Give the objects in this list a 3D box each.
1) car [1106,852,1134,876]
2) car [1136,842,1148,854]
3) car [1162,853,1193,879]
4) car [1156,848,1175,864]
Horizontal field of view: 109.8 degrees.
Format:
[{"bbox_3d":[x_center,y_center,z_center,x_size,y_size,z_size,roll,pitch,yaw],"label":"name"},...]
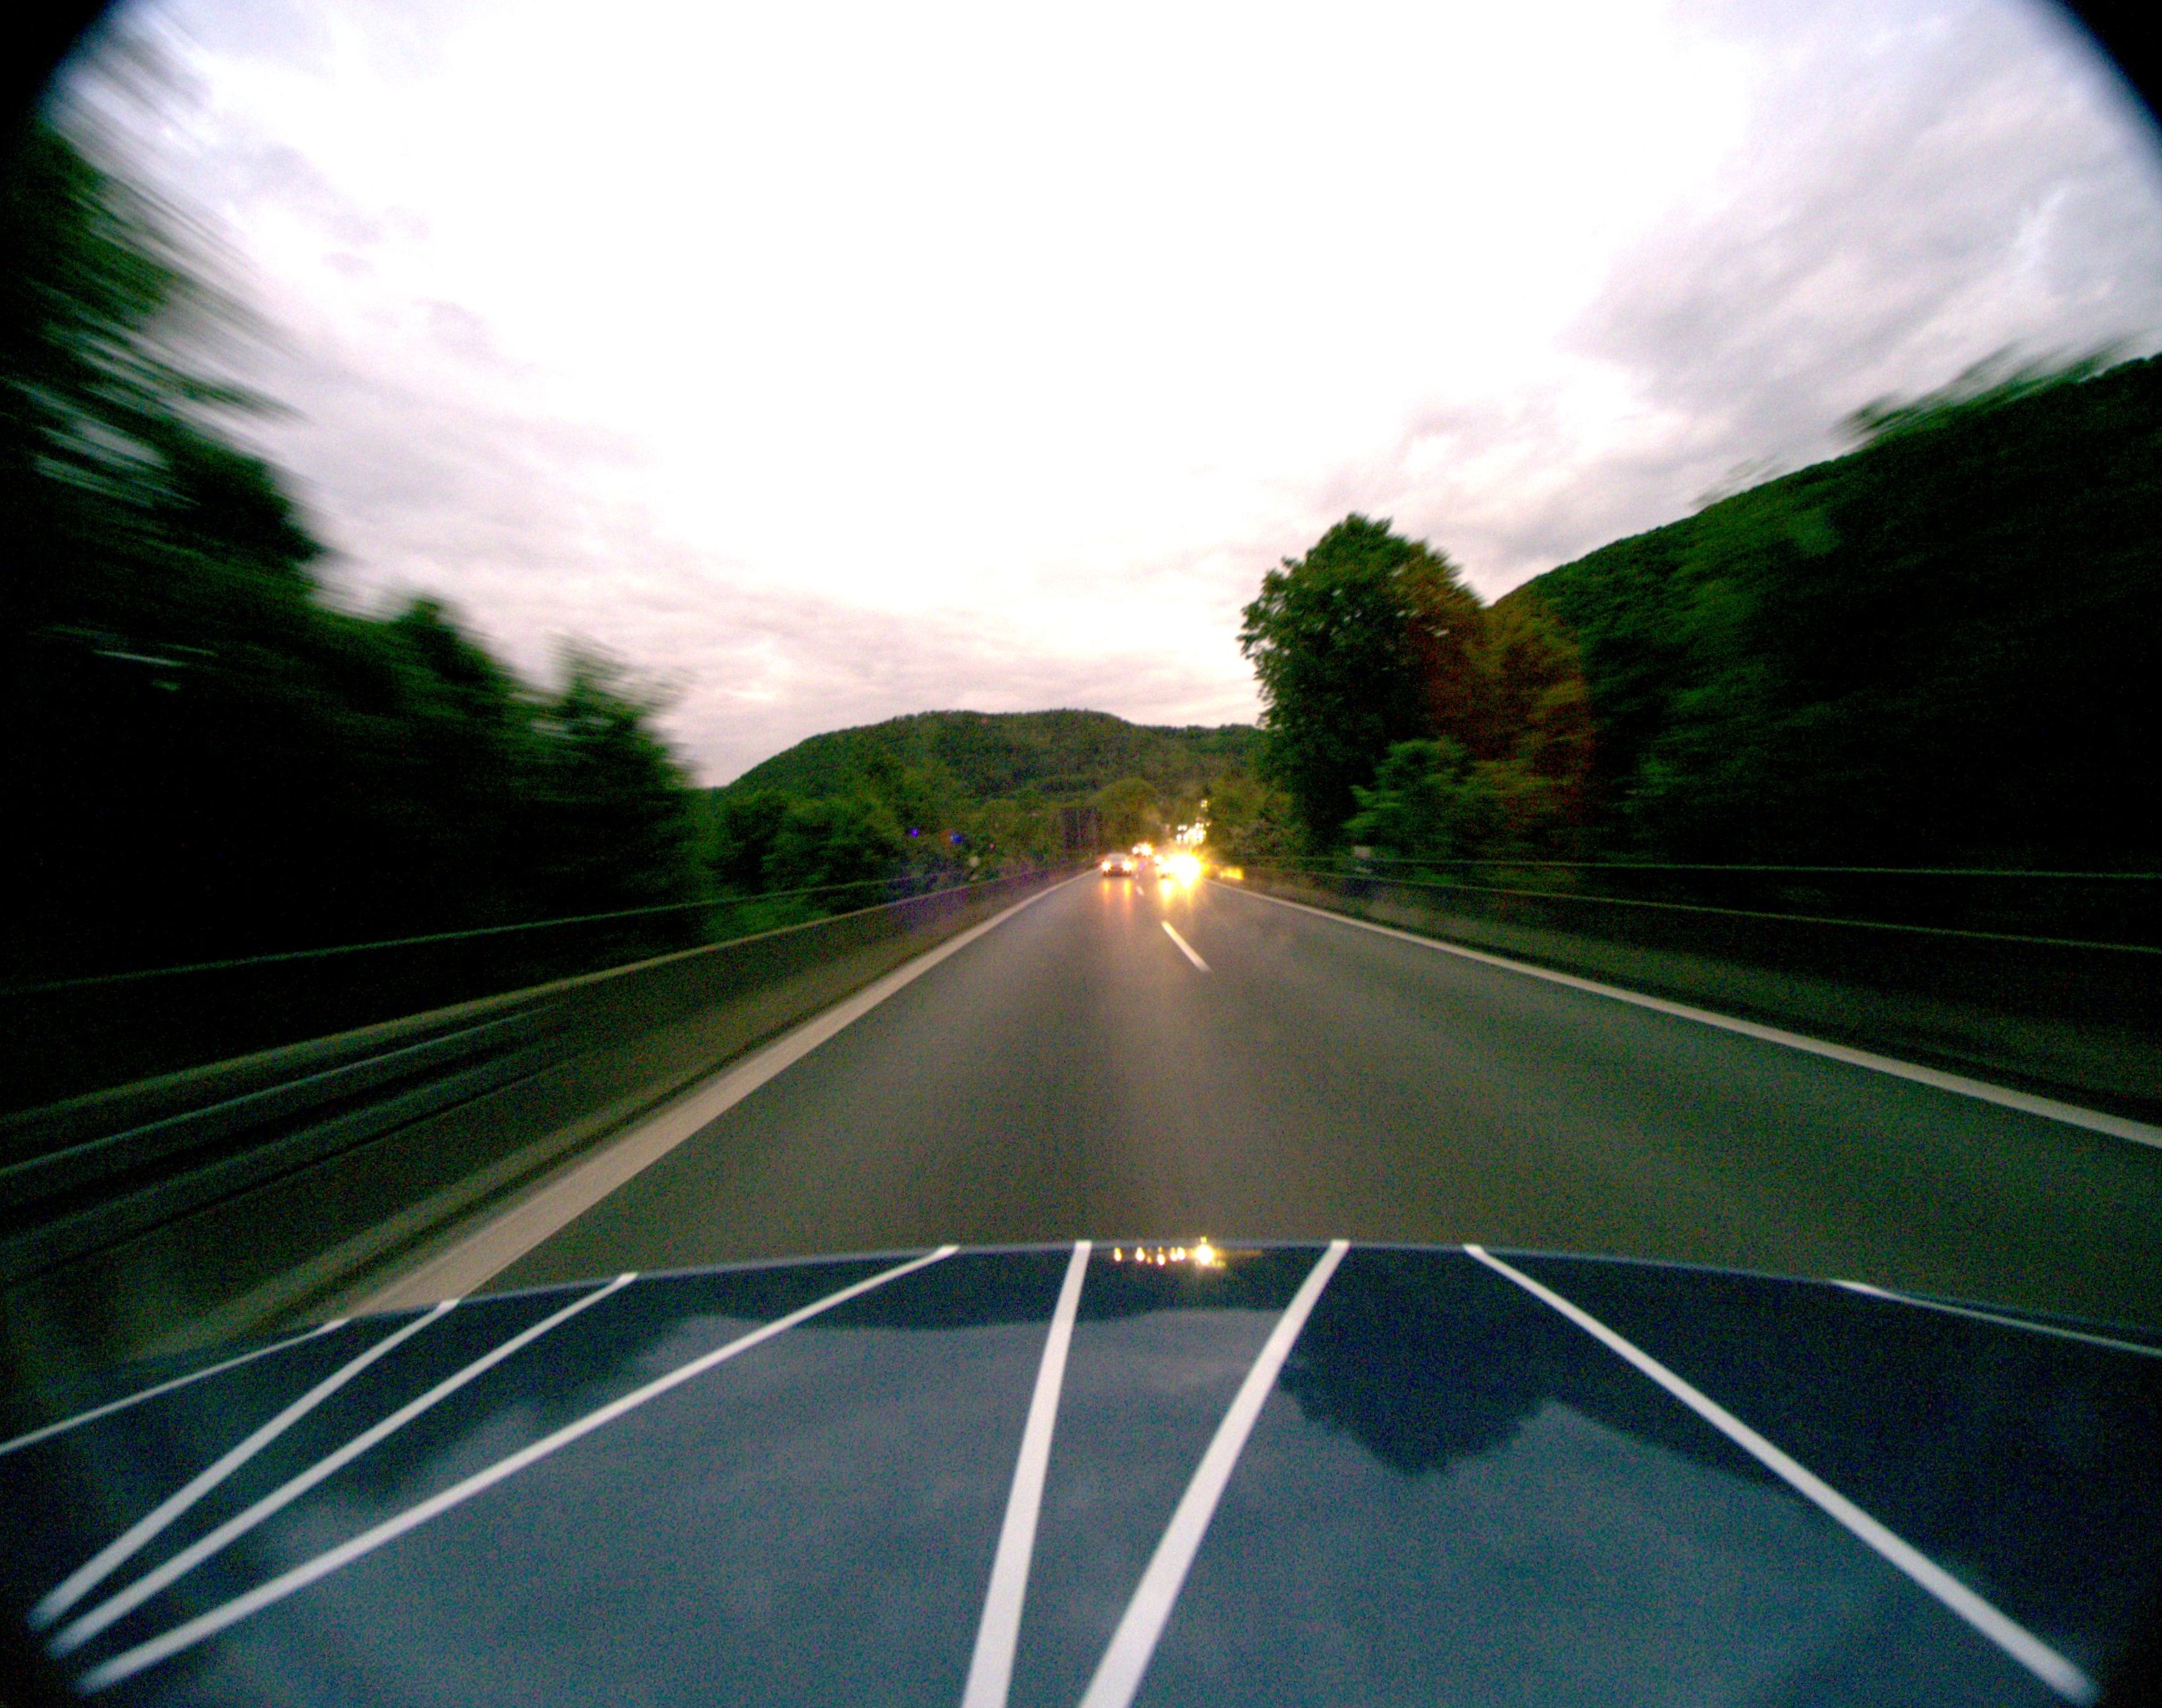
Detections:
[{"bbox_3d":[2.628,0.643,50.382,1.689,1.443,3.669,-2,1,4],"label":"car"},{"bbox_3d":[8.772,-0.847,109.141,1.737,1.641,3.669,-2,1,4],"label":"car"},{"bbox_3d":[5.800,0.687,46.129,1.689,1.460,3.768,-2,1,5],"label":"car"},{"bbox_3d":[8.377,0.184,75.608,1.689,1.425,3.669,-2,1,5],"label":"car"}]
